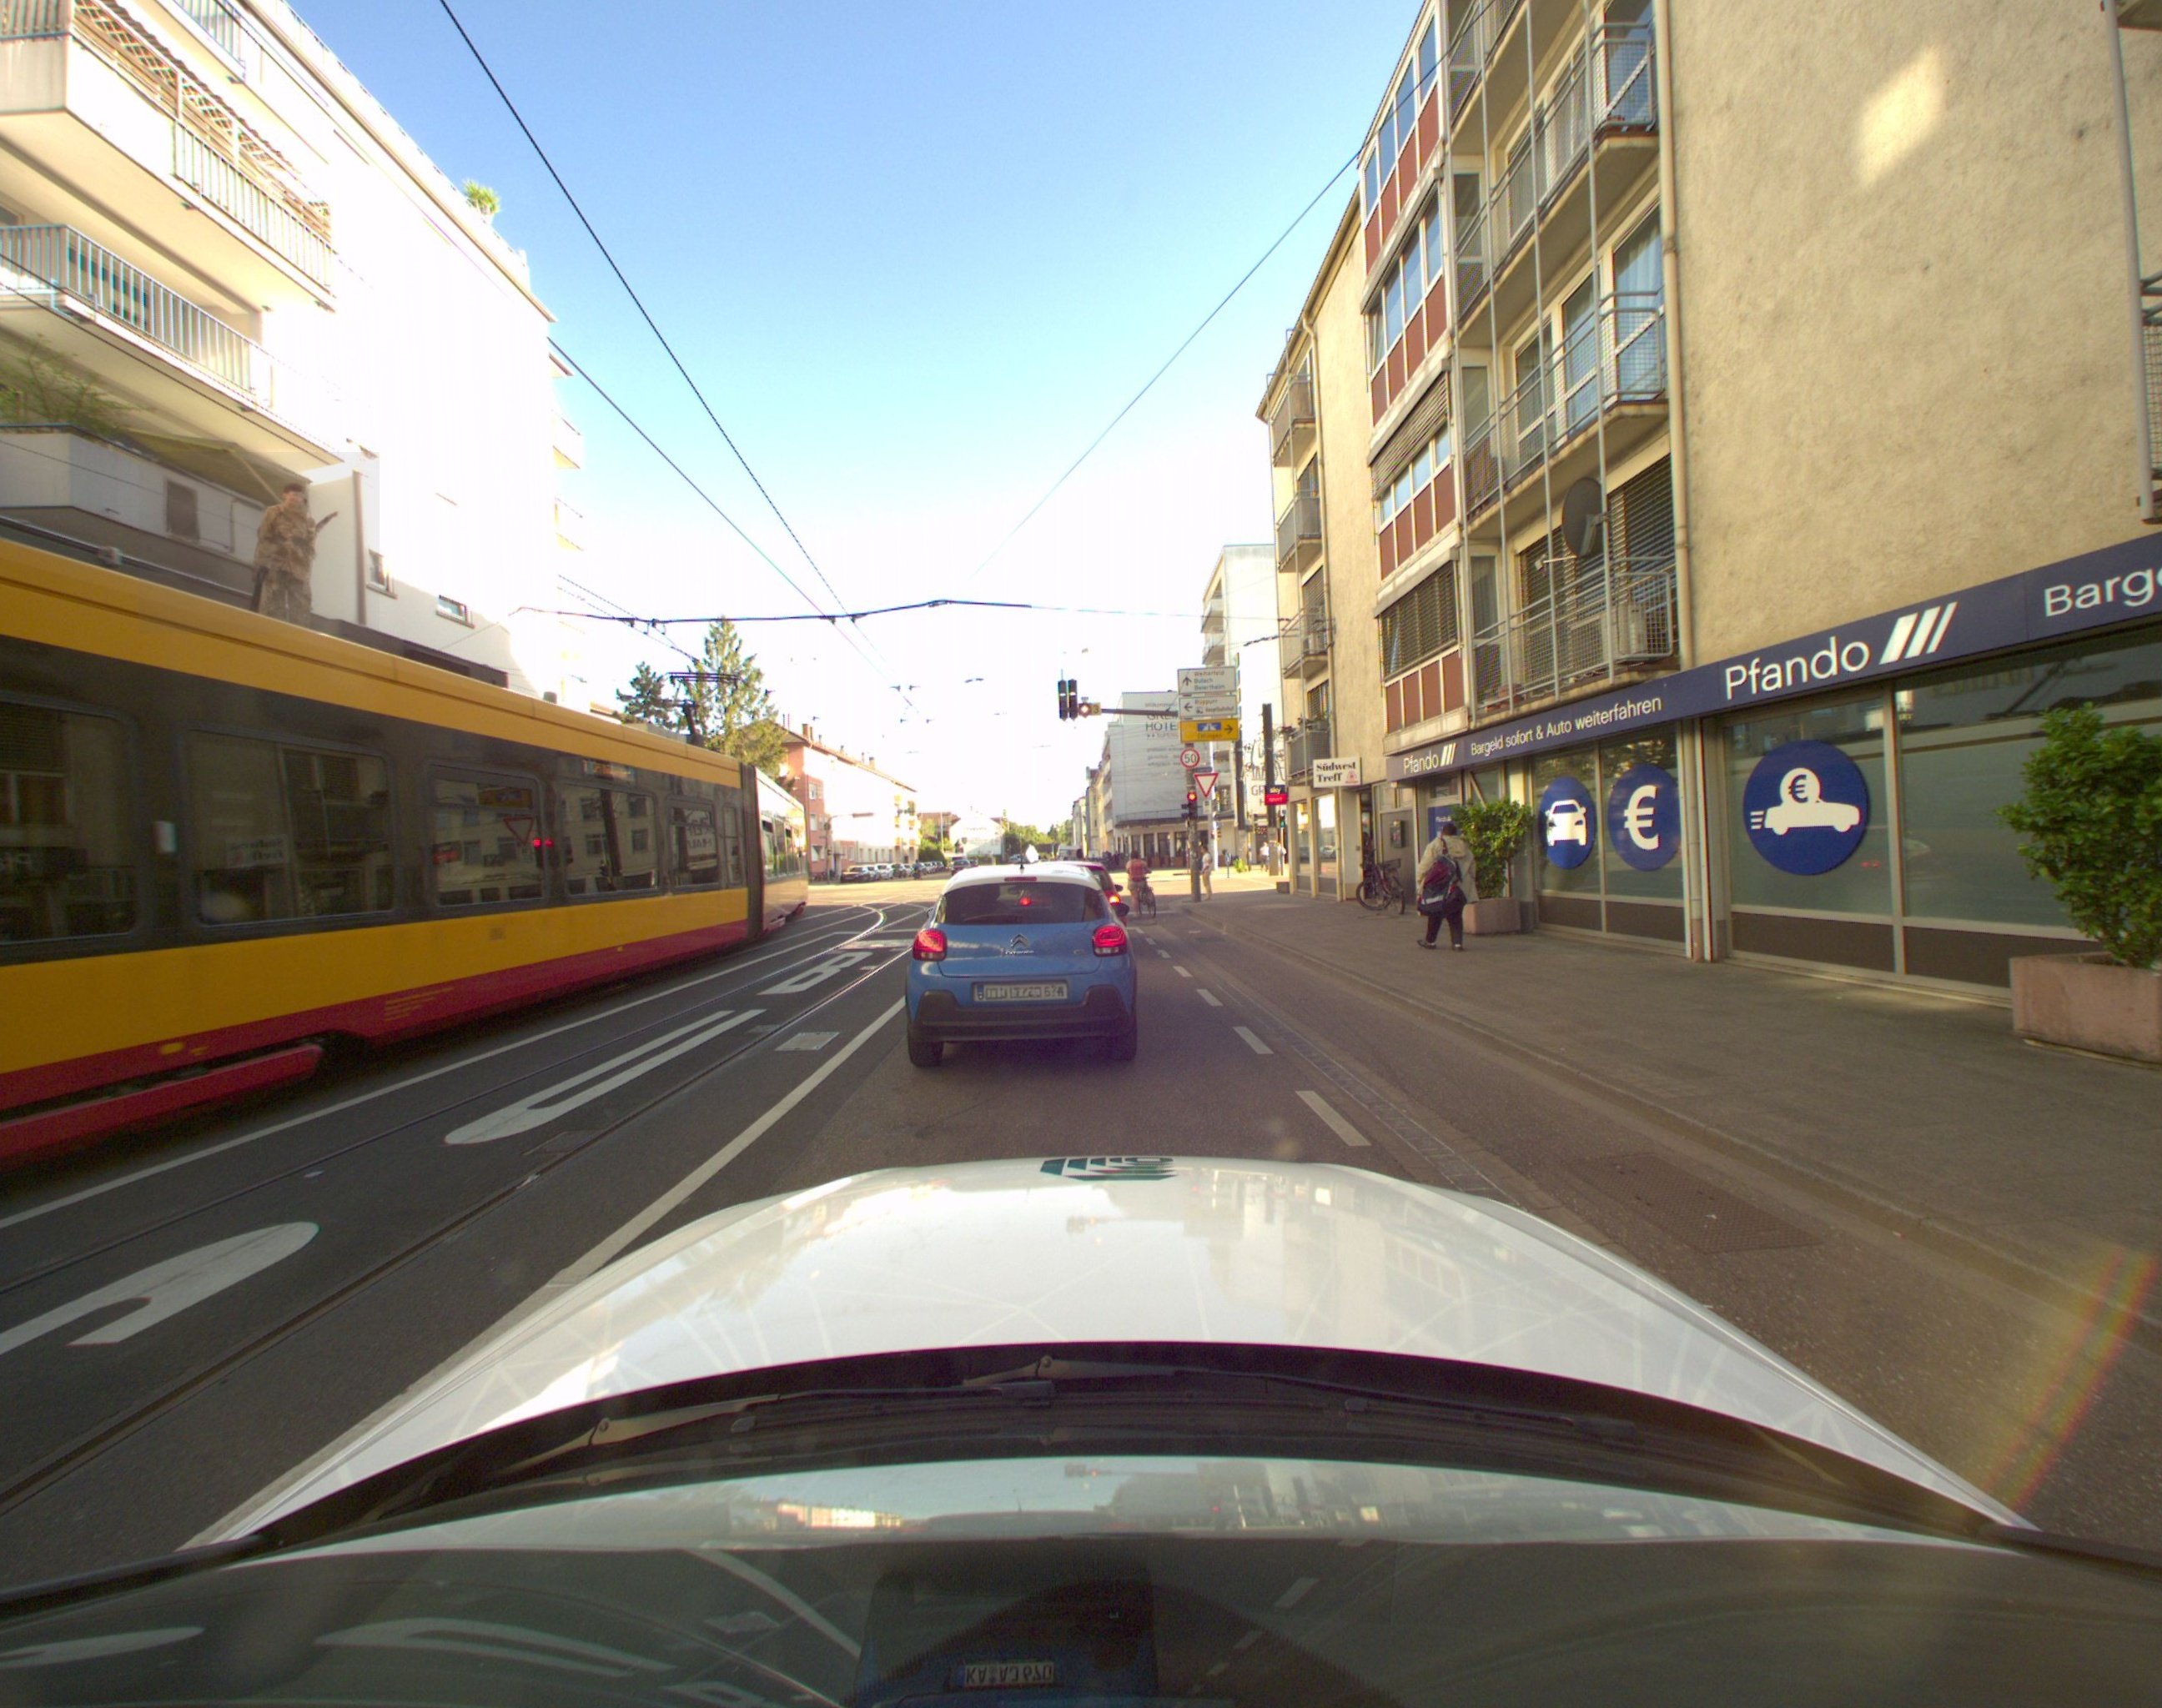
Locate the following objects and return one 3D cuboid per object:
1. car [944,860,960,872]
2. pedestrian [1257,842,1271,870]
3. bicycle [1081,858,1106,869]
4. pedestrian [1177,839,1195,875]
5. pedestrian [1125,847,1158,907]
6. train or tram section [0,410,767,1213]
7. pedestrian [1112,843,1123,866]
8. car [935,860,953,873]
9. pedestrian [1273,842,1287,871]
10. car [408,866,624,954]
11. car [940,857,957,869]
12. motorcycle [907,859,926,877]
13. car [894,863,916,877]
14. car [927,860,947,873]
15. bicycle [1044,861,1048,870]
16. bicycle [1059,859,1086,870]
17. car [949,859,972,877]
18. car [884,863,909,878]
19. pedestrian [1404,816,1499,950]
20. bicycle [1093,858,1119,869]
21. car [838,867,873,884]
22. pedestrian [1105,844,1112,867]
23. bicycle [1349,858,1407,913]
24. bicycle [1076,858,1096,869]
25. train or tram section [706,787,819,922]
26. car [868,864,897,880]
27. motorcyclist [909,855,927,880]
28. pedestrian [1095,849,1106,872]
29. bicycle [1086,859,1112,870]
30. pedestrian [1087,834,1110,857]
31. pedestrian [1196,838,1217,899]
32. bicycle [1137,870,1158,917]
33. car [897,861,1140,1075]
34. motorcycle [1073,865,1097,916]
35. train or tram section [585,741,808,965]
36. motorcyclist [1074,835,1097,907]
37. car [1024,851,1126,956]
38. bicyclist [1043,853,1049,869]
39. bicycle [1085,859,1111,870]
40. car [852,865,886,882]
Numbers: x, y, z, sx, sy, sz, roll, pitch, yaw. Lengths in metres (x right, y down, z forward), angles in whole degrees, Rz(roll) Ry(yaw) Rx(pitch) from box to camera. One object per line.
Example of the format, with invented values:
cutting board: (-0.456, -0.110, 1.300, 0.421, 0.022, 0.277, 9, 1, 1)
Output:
car: (-19.230, 1.753, 121.847, 1.841, 1.687, 3.872, 0, -1, -1)
pedestrian: (10.621, 0.097, 47.216, 0.730, 1.601, 0.751, -1, -1, 15)
bicycle: (1.051, 0.814, 68.482, 2.130, 0.901, 0.366, 0, -1, -7)
pedestrian: (6.053, 0.168, 46.995, 0.922, 2.014, 0.760, 0, -1, 1)
pedestrian: (1.496, 0.562, 20.309, 0.774, 1.460, 0.682, 0, -1, 1)
train or tram section: (-6.470, -0.128, 6.883, 3.054, 3.594, 12.619, -2, 0, -2)
pedestrian: (3.180, 0.052, 70.254, 0.711, 2.014, 0.755, 0, -1, -17)
car: (-18.851, 1.672, 111.987, 1.877, 1.687, 3.998, 0, -1, -1)
pedestrian: (11.420, 0.167, 46.716, 0.746, 1.657, 0.887, -1, -1, 15)
car: (-11.886, 1.101, 17.540, 1.864, 1.531, 4.068, -2, 0, -2)
car: (-19.043, 1.276, 117.273, 1.828, 1.687, 3.998, 0, -1, -1)
motorcycle: (-13.517, 1.149, 67.055, 0.921, 1.486, 3.724, 0, -1, -1)
car: (-20.006, 1.841, 92.745, 1.728, 1.498, 3.996, 0, -1, -2)
car: (-18.883, 1.665, 106.819, 1.978, 1.687, 3.998, 0, -1, -1)
bicycle: (-3.385, 1.086, 78.157, 0.348, 0.903, 1.858, 0, -1, -1)
bicycle: (-0.711, 0.871, 66.403, 2.130, 0.901, 0.366, 0, -1, -7)
car: (-11.353, 1.335, 76.877, 1.770, 1.666, 3.854, 0, -1, -2)
car: (-19.606, 1.772, 86.682, 1.781, 1.498, 3.998, 0, -1, -1)
pedestrian: (4.543, 0.347, 10.035, 0.822, 1.593, 0.751, 0, -1, 1)
bicycle: (2.015, 0.763, 66.077, 2.130, 0.901, 0.366, 0, -1, -7)
car: (-19.181, 1.805, 69.381, 1.787, 1.421, 3.996, 0, 0, 1)
pedestrian: (2.412, 0.139, 70.351, 0.575, 2.014, 0.625, 0, -1, -1)
bicycle: (5.721, 0.579, 15.785, 0.540, 0.998, 1.706, 0, -1, 2)
bicycle: (0.430, 0.816, 69.602, 1.765, 0.901, 0.369, -1, -1, 36)
train or tram section: (-10.917, 0.071, 29.156, 2.752, 3.632, 14.180, 0, -1, -17)
car: (-19.464, 1.735, 79.907, 1.781, 1.511, 4.150, 0, 0, 1)
motorcyclist: (-13.492, 1.080, 67.525, 1.182, 2.013, 1.275, -2, 0, -1)
pedestrian: (1.625, 0.550, 69.345, 0.635, 2.014, 0.717, 0, -1, -34)
bicycle: (1.482, 0.863, 67.407, 2.130, 0.901, 0.366, 0, -1, -7)
pedestrian: (1.629, -0.734, 73.706, 1.986, 2.014, 4.001, 0, -1, 2)
pedestrian: (3.753, 0.437, 24.335, 0.515, 1.783, 0.595, 0, -1, 0)
bicycle: (1.666, 0.973, 20.598, 0.426, 1.123, 1.999, 0, -1, 2)
car: (-0.371, 0.787, 7.299, 1.648, 1.444, 3.524, 0, -1, 2)
motorcycle: (0.112, 0.833, 19.574, 0.524, 1.139, 2.290, 0, -1, 2)
train or tram section: (-7.832, -0.002, 17.941, 2.830, 3.631, 9.037, 0, 0, -15)
motorcyclist: (0.119, 0.400, 19.765, 0.524, 1.716, 0.717, 0, -1, 1)
car: (-0.045, 0.740, 13.311, 1.419, 1.467, 2.925, -2, -1, 2)
bicyclist: (-3.380, 0.671, 78.068, 0.559, 1.477, 0.747, 0, -1, -1)
bicycle: (1.433, 0.870, 67.838, 2.130, 0.901, 0.366, 0, -1, -7)
car: (-19.234, 1.775, 74.118, 1.808, 1.498, 4.302, 0, 0, 2)
